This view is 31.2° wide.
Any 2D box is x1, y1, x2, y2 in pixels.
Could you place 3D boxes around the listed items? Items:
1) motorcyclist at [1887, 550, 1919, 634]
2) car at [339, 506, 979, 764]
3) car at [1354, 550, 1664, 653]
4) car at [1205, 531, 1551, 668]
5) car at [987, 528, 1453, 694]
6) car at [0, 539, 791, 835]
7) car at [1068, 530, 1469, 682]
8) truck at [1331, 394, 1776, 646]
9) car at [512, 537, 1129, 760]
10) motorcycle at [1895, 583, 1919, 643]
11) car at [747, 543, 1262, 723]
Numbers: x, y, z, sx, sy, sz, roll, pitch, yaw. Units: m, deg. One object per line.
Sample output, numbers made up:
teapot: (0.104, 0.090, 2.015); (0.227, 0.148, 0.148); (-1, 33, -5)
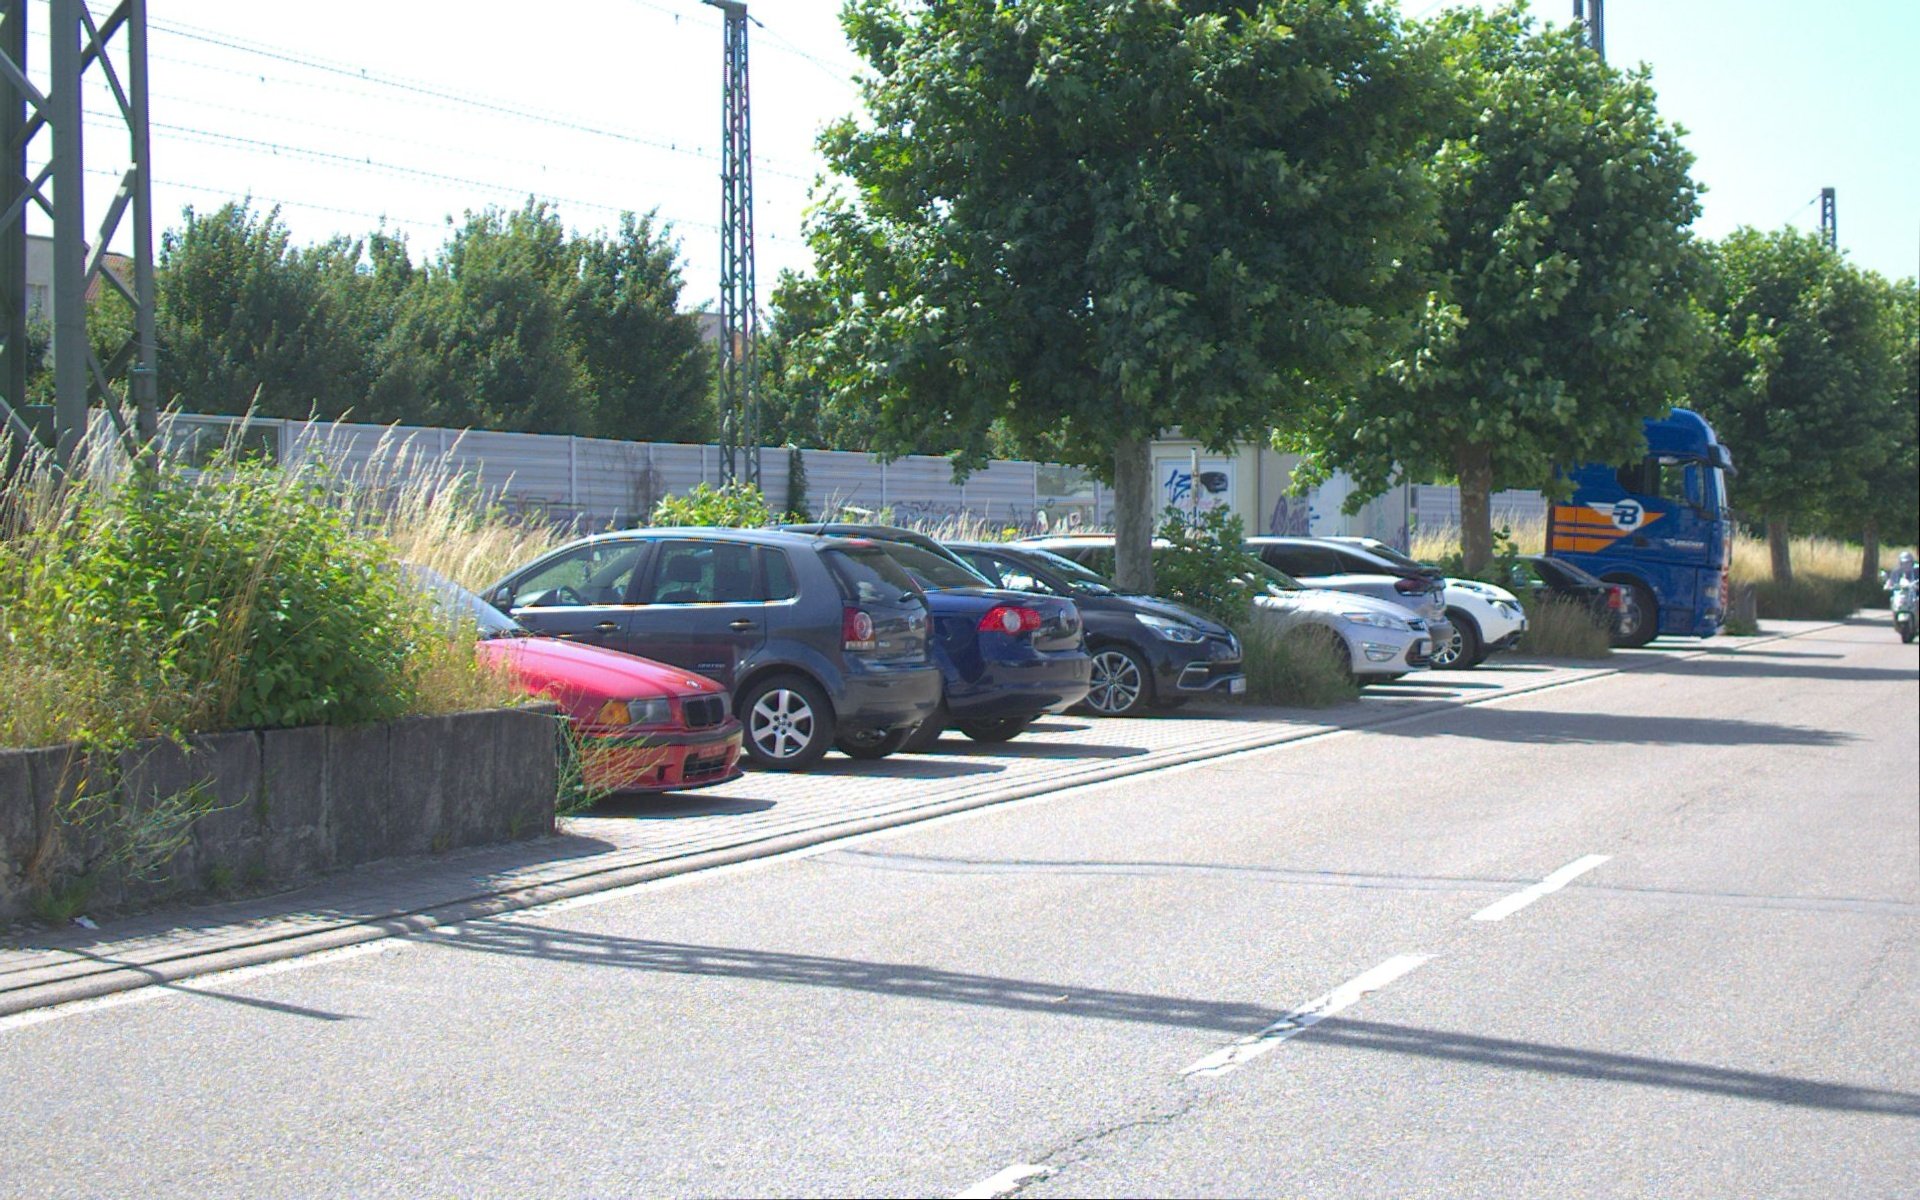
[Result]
motorcyclist: (17.252, -0.143, 62.286); (0.776, 1.504, 0.920); (1, 1, 20)
car: (-1.895, 0.182, 21.911); (3.669, 1.443, 1.682); (2, 2, 18)
car: (8.005, 0.002, 50.090); (4.212, 1.390, 1.870); (1, 1, 18)
car: (5.153, -0.036, 42.276); (3.973, 1.612, 1.849); (1, 1, 16)
car: (2.644, 0.071, 34.848); (4.342, 1.527, 1.924); (1, 2, 19)
car: (-3.118, 0.405, 18.506); (4.077, 1.364, 1.672); (1, 3, 20)
car: (3.379, 0.044, 37.420); (3.990, 1.542, 1.998); (1, 1, 18)
truck: (9.380, -1.231, 54.220); (6.619, 3.810, 2.662); (0, 1, 18)
car: (-0.980, 0.293, 24.137); (3.950, 1.445, 1.784); (1, 1, 24)
motorcycle: (17.244, 0.226, 62.237); (0.463, 1.047, 1.953); (1, 1, 19)
car: (0.396, 0.254, 29.557); (4.077, 1.467, 1.785); (0, 1, 20)
